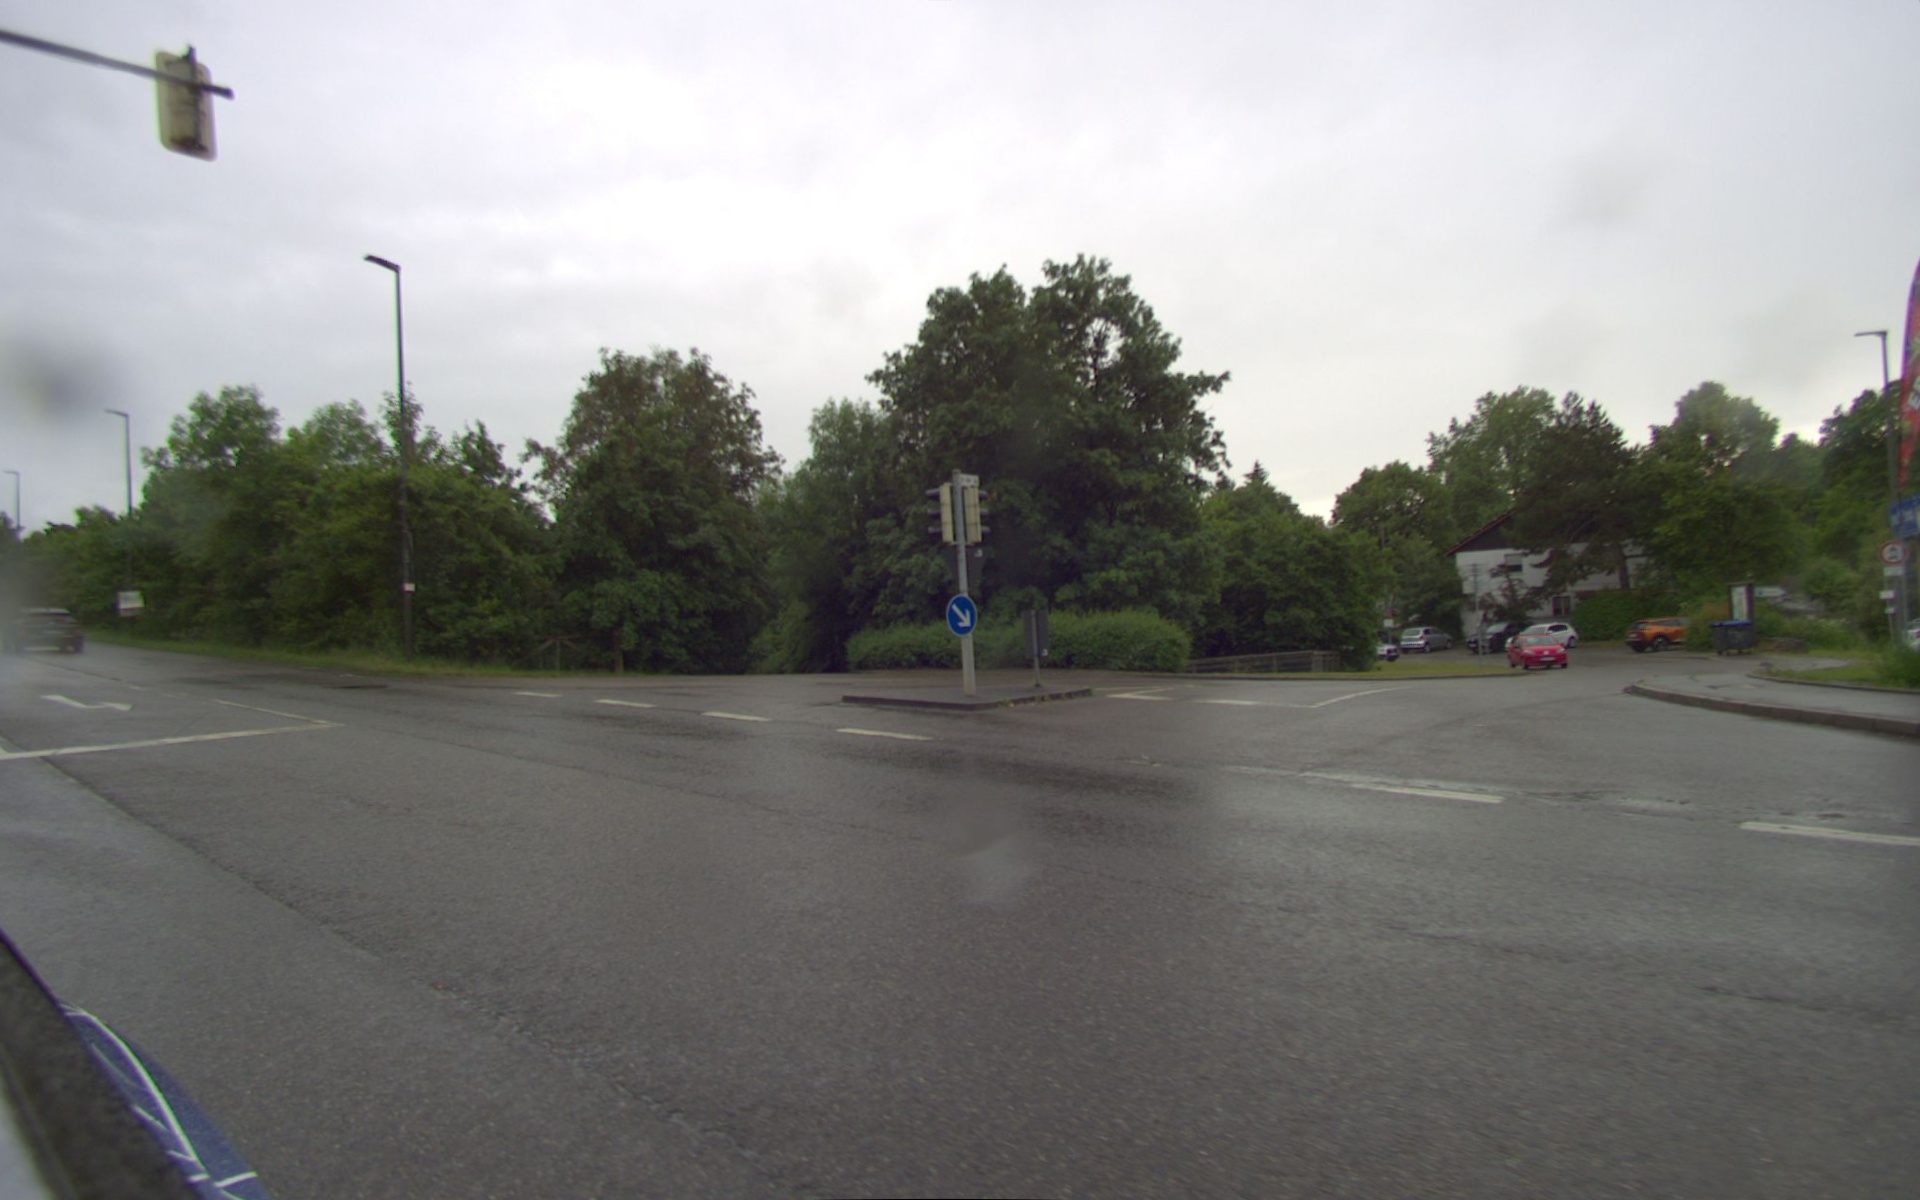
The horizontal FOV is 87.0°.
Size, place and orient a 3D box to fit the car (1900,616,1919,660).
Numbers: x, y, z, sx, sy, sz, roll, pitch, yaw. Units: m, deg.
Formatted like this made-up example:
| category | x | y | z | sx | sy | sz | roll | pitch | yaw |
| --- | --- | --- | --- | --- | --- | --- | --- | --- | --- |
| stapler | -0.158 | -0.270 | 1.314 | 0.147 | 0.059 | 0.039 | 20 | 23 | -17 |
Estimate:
| category | x | y | z | sx | sy | sz | roll | pitch | yaw |
| --- | --- | --- | --- | --- | --- | --- | --- | --- | --- |
| car | 31.547 | 1.164 | 31.285 | 3.345 | 1.346 | 1.435 | -1 | -1 | 27 |

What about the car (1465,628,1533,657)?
| category | x | y | z | sx | sy | sz | roll | pitch | yaw |
| --- | --- | --- | --- | --- | --- | --- | --- | --- | --- |
| car | 30.962 | 2.426 | 58.120 | 3.540 | 1.522 | 1.477 | 0 | -1 | -23 |

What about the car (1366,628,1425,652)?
| category | x | y | z | sx | sy | sz | roll | pitch | yaw |
| --- | --- | --- | --- | --- | --- | --- | --- | --- | --- |
| car | 28.187 | 2.573 | 65.481 | 3.369 | 1.522 | 1.575 | 0 | -1 | -23 |

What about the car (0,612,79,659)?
| category | x | y | z | sx | sy | sz | roll | pitch | yaw |
| --- | --- | --- | --- | --- | --- | --- | --- | --- | --- |
| car | -33.005 | 1.260 | 36.209 | 3.867 | 1.586 | 1.715 | -2 | -1 | 41 |

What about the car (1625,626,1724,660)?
| category | x | y | z | sx | sy | sz | roll | pitch | yaw |
| --- | --- | --- | --- | --- | --- | --- | --- | --- | --- |
| car | 33.530 | 2.014 | 47.551 | 3.389 | 1.522 | 1.625 | -1 | -1 | 9 |

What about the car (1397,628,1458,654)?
| category | x | y | z | sx | sy | sz | roll | pitch | yaw |
| --- | --- | --- | --- | --- | --- | --- | --- | --- | --- |
| car | 29.148 | 2.555 | 63.075 | 3.369 | 1.522 | 1.575 | 0 | -1 | -23 |

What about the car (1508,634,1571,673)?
| category | x | y | z | sx | sy | sz | roll | pitch | yaw |
| --- | --- | --- | --- | --- | --- | --- | --- | --- | --- |
| car | 24.387 | 2.228 | 42.718 | 1.639 | 1.522 | 3.579 | -1 | -1 | 20 |

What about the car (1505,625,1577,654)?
| category | x | y | z | sx | sy | sz | roll | pitch | yaw |
| --- | --- | --- | --- | --- | --- | --- | --- | --- | --- |
| car | 31.858 | 2.156 | 55.520 | 3.540 | 1.522 | 1.575 | 0 | -1 | -23 |
